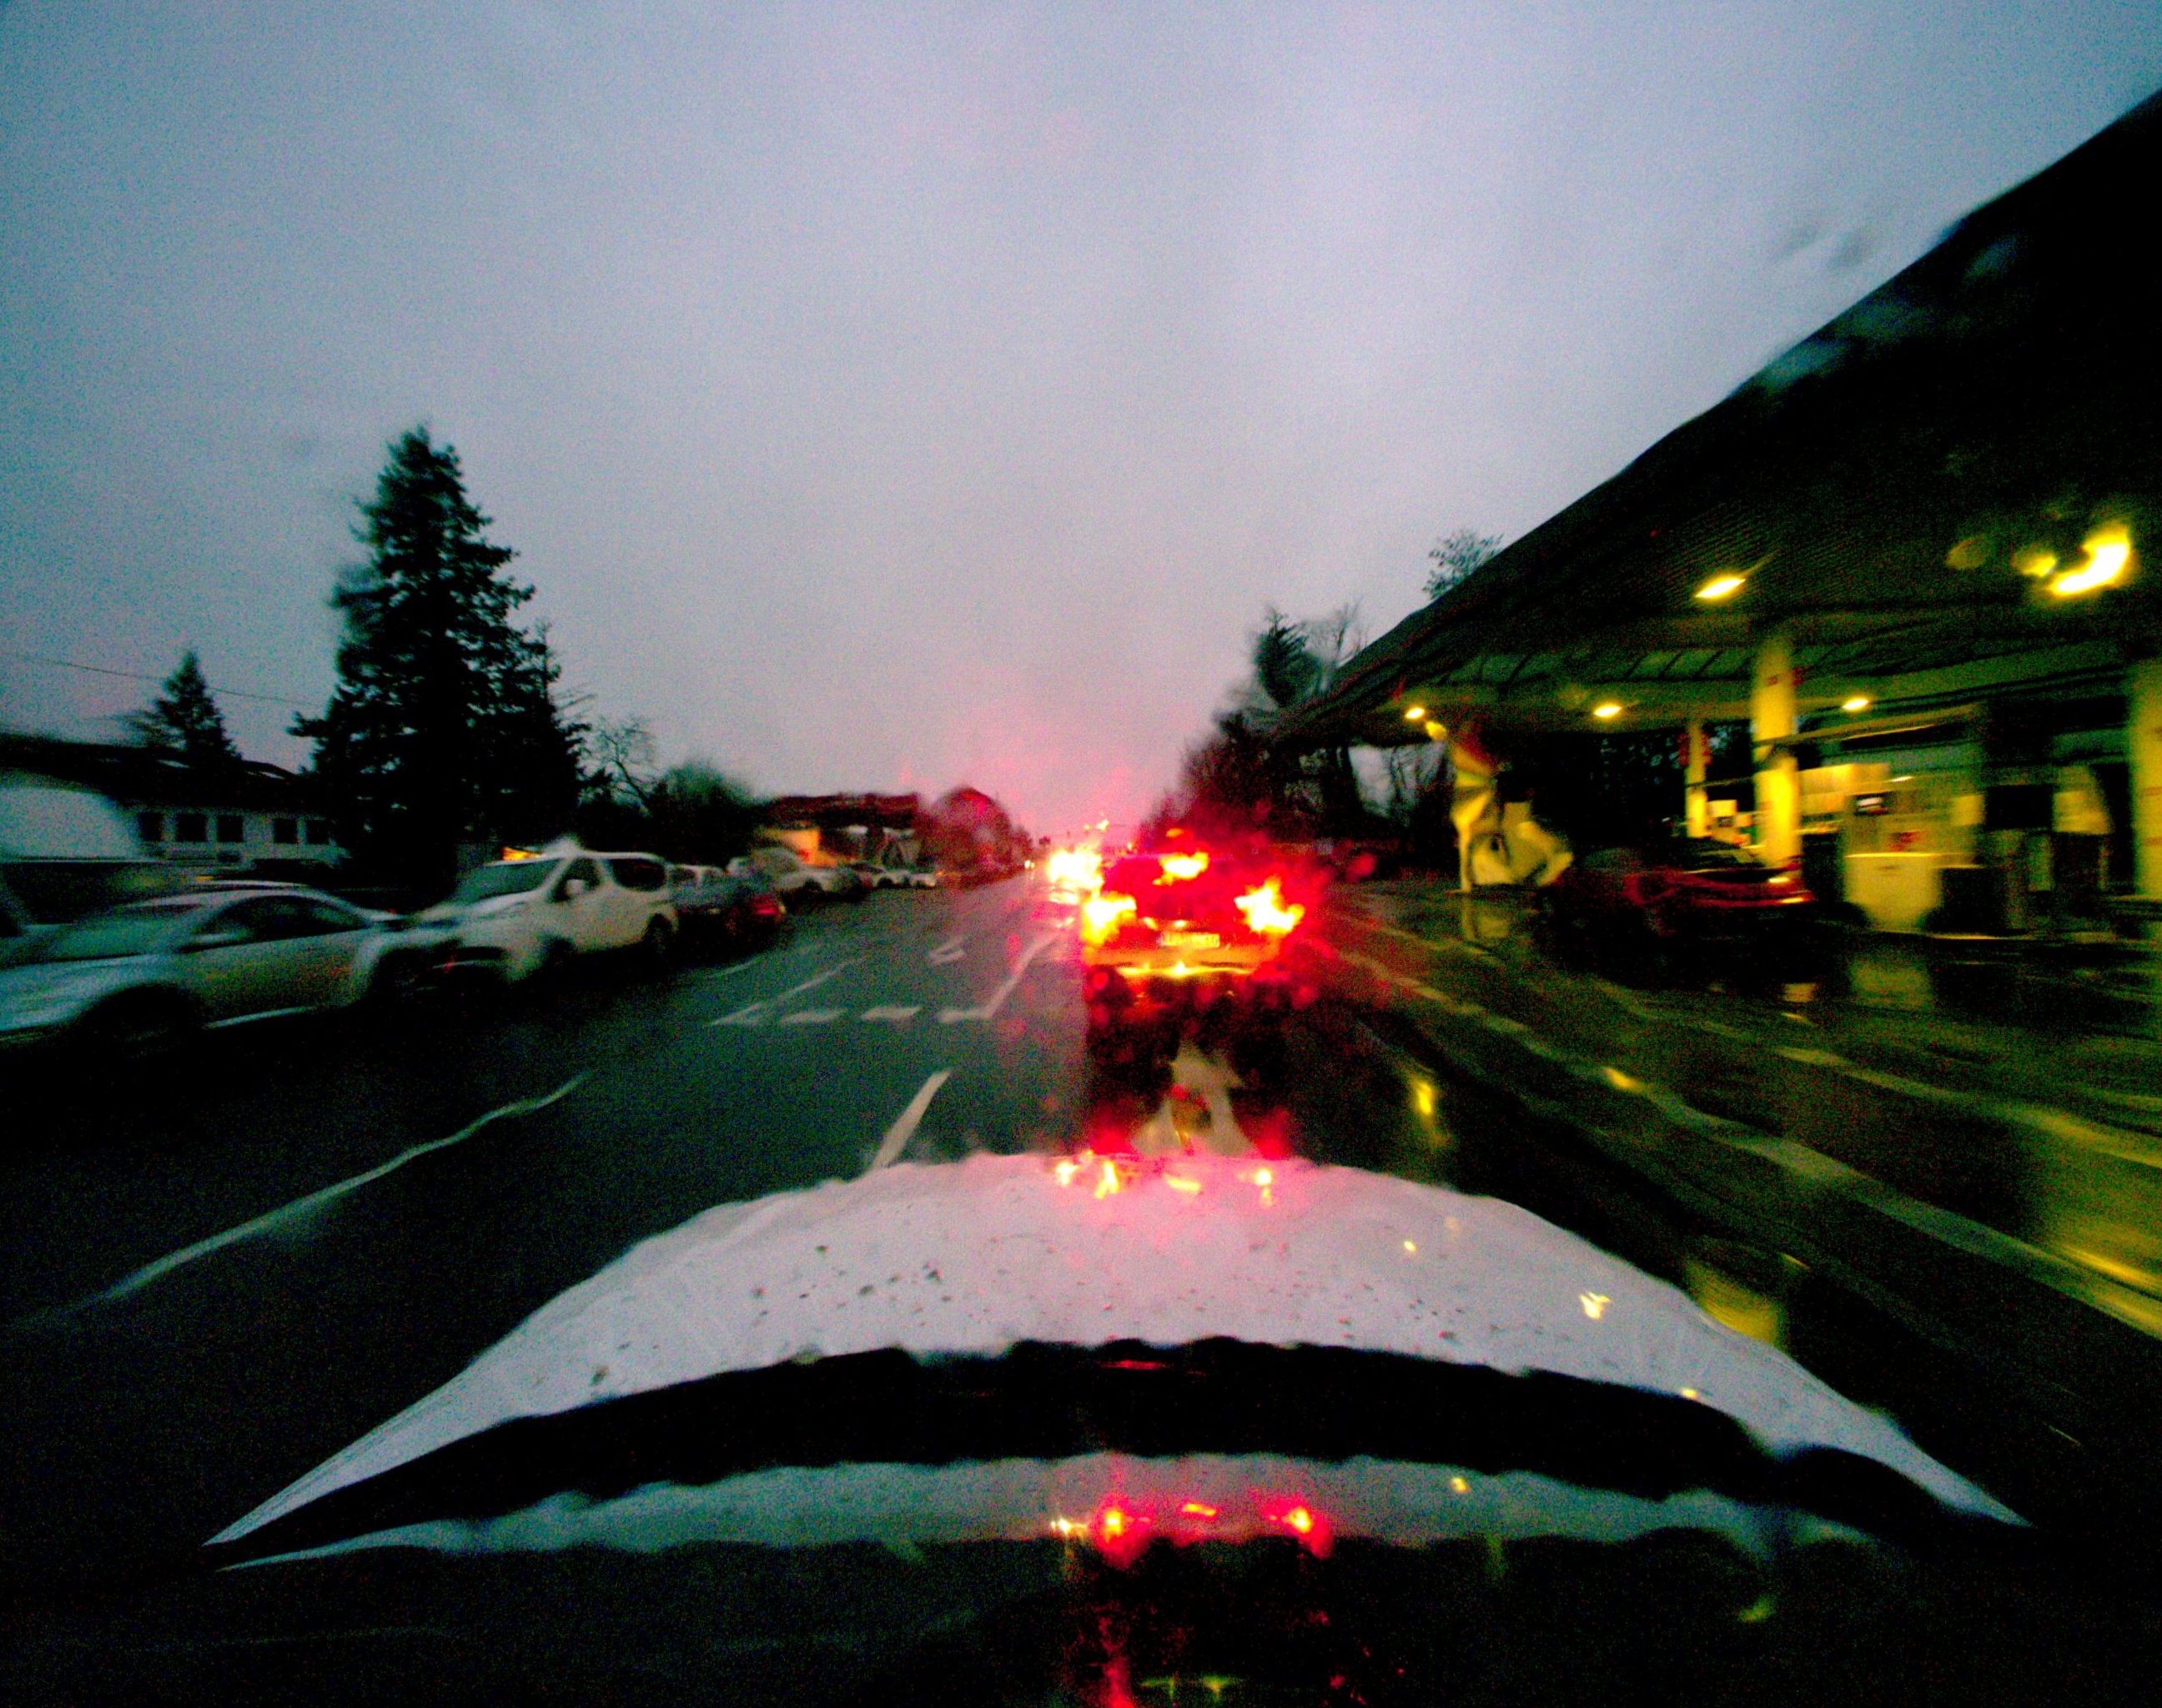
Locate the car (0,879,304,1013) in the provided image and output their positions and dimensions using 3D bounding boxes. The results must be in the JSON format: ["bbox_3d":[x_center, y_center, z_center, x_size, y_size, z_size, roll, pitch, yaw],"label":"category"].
[{"bbox_3d":[-14.771,1.323,12.262,4.039,1.733,2.023,-1,0,-3],"label":"car"}]

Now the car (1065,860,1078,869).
[{"bbox_3d":[-1.853,2.107,161.819,1.984,1.746,4.005,-3,-1,4],"label":"car"}]

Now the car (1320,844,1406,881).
[{"bbox_3d":[13.675,0.406,39.305,4.508,1.608,1.995,-2,0,-43],"label":"car"}]

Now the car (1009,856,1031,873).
[{"bbox_3d":[-6.956,1.169,93.117,1.963,1.830,4.513,-3,0,1],"label":"car"}]

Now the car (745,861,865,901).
[{"bbox_3d":[-11.605,1.120,34.391,4.317,1.498,1.996,-1,0,3],"label":"car"}]

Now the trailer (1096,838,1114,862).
[{"bbox_3d":[3.466,-0.486,120.143,2.479,3.241,10.868,-1,-1,1],"label":"trailer"}]

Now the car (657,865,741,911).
[{"bbox_3d":[-15.487,1.353,33.230,1.664,1.676,3.705,-2,0,-1],"label":"car"}]

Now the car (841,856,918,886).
[{"bbox_3d":[-12.054,1.021,48.928,4.031,1.650,1.943,-2,0,2],"label":"car"}]

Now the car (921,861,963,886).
[{"bbox_3d":[-8.434,1.155,49.601,1.675,1.421,3.743,-2,0,3],"label":"car"}]

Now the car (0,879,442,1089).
[{"bbox_3d":[-8.679,1.049,7.970,1.643,1.412,3.843,-2,0,3],"label":"car"}]

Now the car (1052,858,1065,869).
[{"bbox_3d":[-3.228,1.335,115.310,1.598,1.534,4.000,-4,0,0],"label":"car"}]

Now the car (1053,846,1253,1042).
[{"bbox_3d":[0.635,0.727,8.505,1.559,1.529,4.008,-1,0,2],"label":"car"}]

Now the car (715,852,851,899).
[{"bbox_3d":[-11.563,0.813,31.860,4.524,1.676,2.008,-1,0,-4],"label":"car"}]

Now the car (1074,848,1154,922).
[{"bbox_3d":[0.798,0.690,20.118,1.702,1.576,4.465,-2,0,2],"label":"car"}]

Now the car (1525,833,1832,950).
[{"bbox_3d":[8.626,0.474,12.288,1.567,1.396,4.169,-3,0,1],"label":"car"}]

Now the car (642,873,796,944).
[{"bbox_3d":[-7.943,1.159,18.331,1.565,1.321,4.254,-3,-2,-1],"label":"car"}]

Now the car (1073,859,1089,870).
[{"bbox_3d":[-0.003,1.512,118.642,2.042,1.573,4.699,-3,-1,-2],"label":"car"}]

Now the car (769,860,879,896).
[{"bbox_3d":[-11.613,1.075,36.955,4.320,1.498,1.826,-1,0,1],"label":"car"}]

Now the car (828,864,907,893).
[{"bbox_3d":[-11.485,1.315,43.958,3.762,1.459,1.775,-1,0,-2],"label":"car"}]

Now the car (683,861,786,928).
[{"bbox_3d":[-9.480,1.050,22.463,1.165,1.644,2.878,-3,0,9],"label":"car"}]

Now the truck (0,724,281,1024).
[{"bbox_3d":[-14.186,0.304,9.687,6.838,3.142,2.333,-2,0,-1],"label":"truck"}]

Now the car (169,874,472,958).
[{"bbox_3d":[-14.611,1.148,15.849,4.039,1.377,1.813,-1,0,-3],"label":"car"}]

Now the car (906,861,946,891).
[{"bbox_3d":[-8.569,1.195,45.233,1.513,1.543,3.015,-3,0,1],"label":"car"}]

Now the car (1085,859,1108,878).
[{"bbox_3d":[1.213,1.110,62.440,1.647,1.336,4.273,-2,0,1],"label":"car"}]

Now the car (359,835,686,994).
[{"bbox_3d":[-8.350,0.792,12.816,1.827,2.013,4.487,-2,0,3],"label":"car"}]
